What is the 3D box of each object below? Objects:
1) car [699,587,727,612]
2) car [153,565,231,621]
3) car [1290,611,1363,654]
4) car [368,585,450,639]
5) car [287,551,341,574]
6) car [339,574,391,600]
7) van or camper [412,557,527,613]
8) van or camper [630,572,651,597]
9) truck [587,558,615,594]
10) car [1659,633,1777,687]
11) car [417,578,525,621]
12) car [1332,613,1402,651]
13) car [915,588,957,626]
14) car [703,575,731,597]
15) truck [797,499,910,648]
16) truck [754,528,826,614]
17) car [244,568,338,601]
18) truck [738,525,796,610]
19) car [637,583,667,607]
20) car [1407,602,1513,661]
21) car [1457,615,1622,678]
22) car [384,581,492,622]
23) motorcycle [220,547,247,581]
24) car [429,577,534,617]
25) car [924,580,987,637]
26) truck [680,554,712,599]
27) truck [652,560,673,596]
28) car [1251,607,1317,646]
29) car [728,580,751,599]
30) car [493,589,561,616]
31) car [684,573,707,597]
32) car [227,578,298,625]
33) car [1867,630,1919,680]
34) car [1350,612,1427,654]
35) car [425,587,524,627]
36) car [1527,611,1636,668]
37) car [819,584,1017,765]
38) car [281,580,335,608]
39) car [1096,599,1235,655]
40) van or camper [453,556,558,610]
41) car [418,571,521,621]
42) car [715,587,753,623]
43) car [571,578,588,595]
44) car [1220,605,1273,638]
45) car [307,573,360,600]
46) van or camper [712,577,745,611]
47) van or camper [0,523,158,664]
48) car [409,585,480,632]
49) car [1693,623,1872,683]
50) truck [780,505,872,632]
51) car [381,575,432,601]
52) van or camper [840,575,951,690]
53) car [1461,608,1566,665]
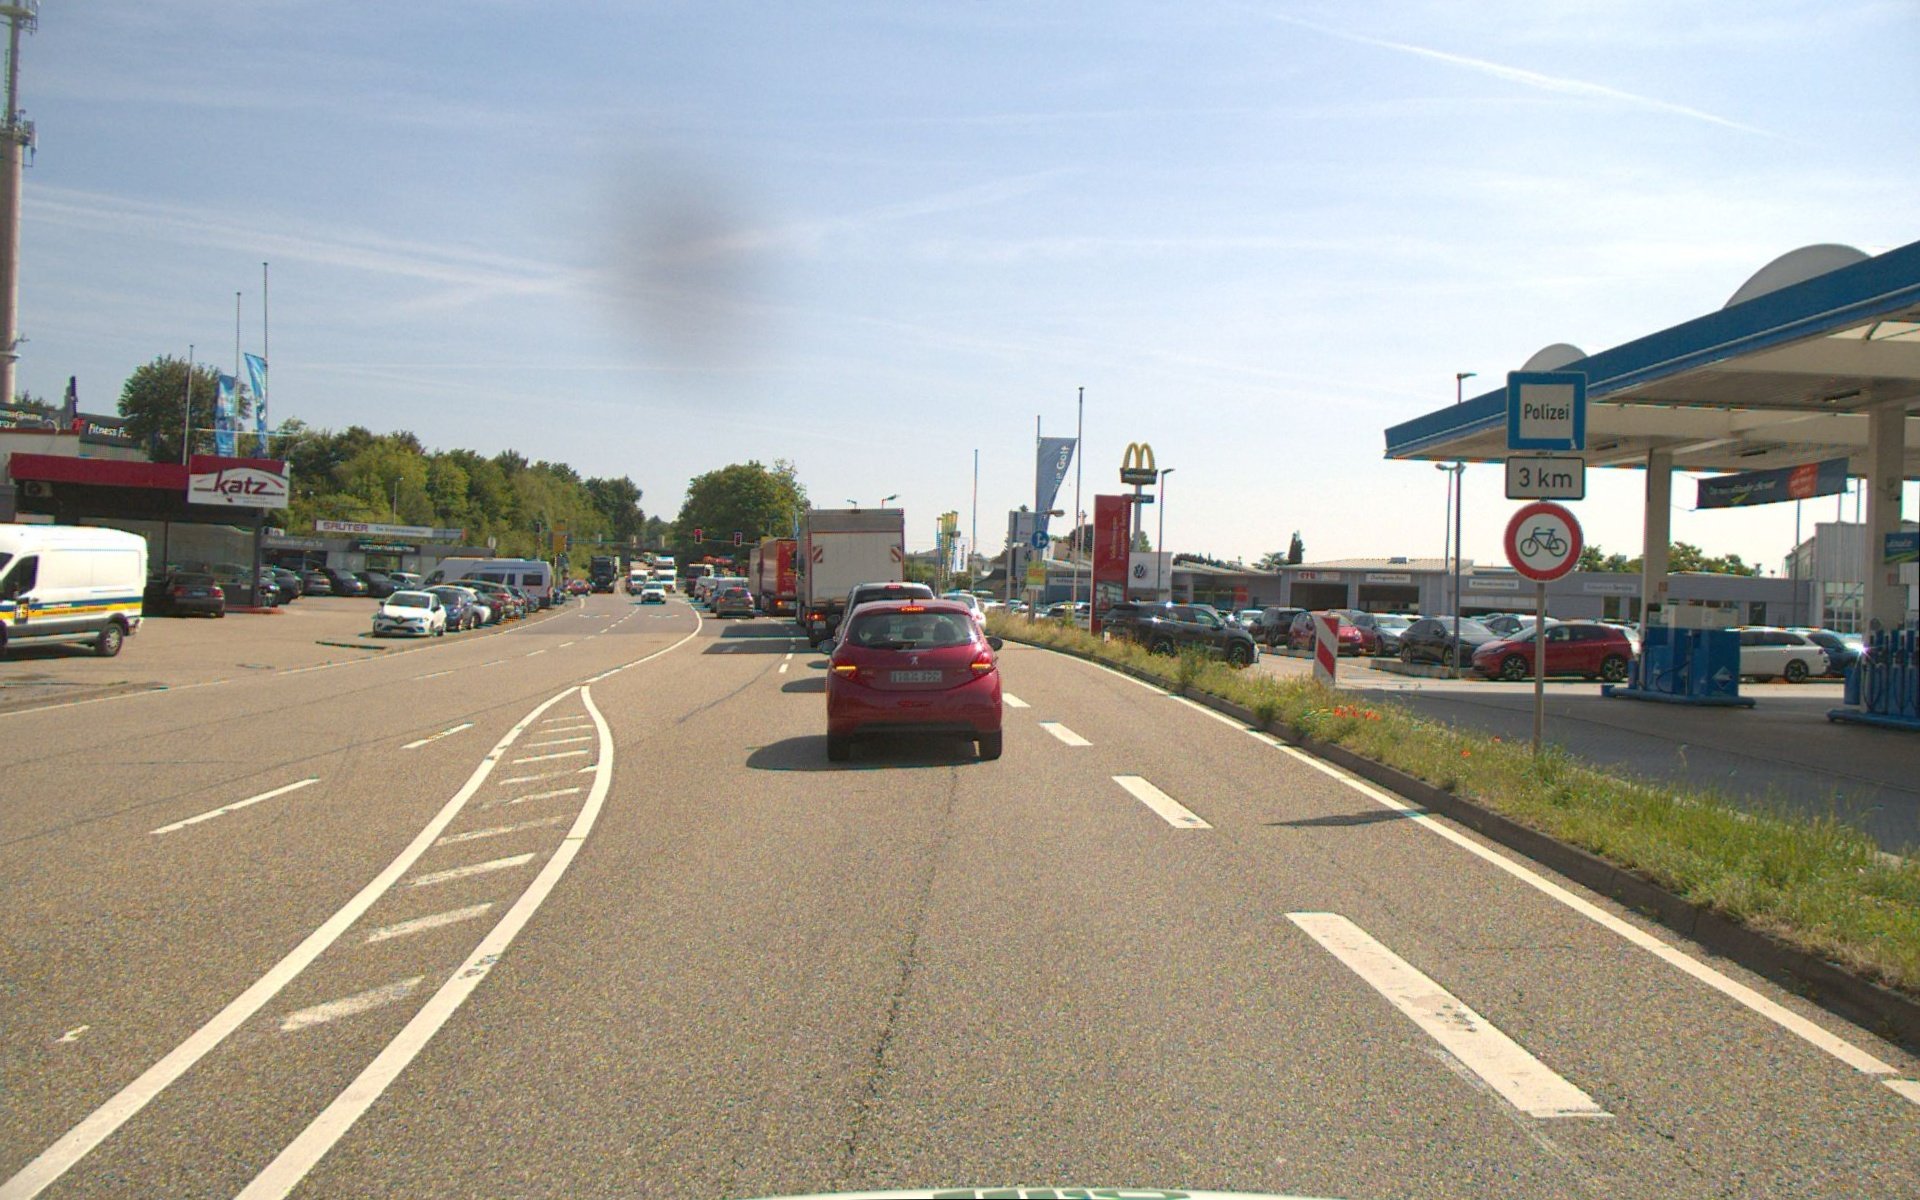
[{"bbox_3d":[-15.933,-0.054,106.639,1.695,1.545,3.305,1,0,-10],"label":"car"},{"bbox_3d":[-25.608,-0.254,55.069,1.835,1.530,4.351,4,1,-31],"label":"car"},{"bbox_3d":[13.341,1.159,60.407,1.528,1.434,3.590,-1,0,-7],"label":"car"},{"bbox_3d":[-17.788,0.364,53.570,1.745,1.646,3.993,1,0,-7],"label":"car"},{"bbox_3d":[-43.098,-2.518,110.318,3.679,1.476,1.727,1,0,40],"label":"car"},{"bbox_3d":[-36.906,-0.808,102.538,1.754,1.616,3.770,0,1,-42],"label":"car"},{"bbox_3d":[-26.953,-0.846,91.070,5.784,2.923,2.285,1,1,-10],"label":"van or camper"},{"bbox_3d":[-34.422,-1.650,178.189,2.134,2.596,4.160,1,0,-10],"label":"van or camper"},{"bbox_3d":[-38.874,-2.585,179.095,2.765,3.852,6.966,-1,1,-13],"label":"truck"},{"bbox_3d":[22.362,1.747,48.917,1.528,1.434,3.590,-1,0,-7],"label":"car"},{"bbox_3d":[-21.048,-0.030,71.366,4.202,1.510,1.831,5,0,-12],"label":"car"},{"bbox_3d":[16.265,1.265,66.313,1.528,1.434,3.684,-1,0,-7],"label":"car"},{"bbox_3d":[-1.179,0.330,80.498,1.953,1.780,3.999,1,0,-1],"label":"car"},{"bbox_3d":[-17.219,-0.977,117.191,1.693,1.545,3.309,1,0,-5],"label":"car"},{"bbox_3d":[-3.351,-0.744,49.046,2.824,3.877,11.127,1,0,-6],"label":"truck"},{"bbox_3d":[-9.785,-1.596,93.461,2.903,4.344,16.546,1,1,-10],"label":"truck"},{"bbox_3d":[-31.751,-0.727,78.481,3.901,1.559,1.749,0,1,-33],"label":"car"},{"bbox_3d":[-13.474,-2.185,114.097,3.006,5.311,16.968,1,1,-10],"label":"truck"},{"bbox_3d":[-22.750,-0.359,122.222,1.898,1.703,3.994,-1,1,-7],"label":"car"},{"bbox_3d":[14.701,0.888,48.823,1.583,1.622,3.855,-1,0,-7],"label":"car"},{"bbox_3d":[15.633,1.243,44.714,3.825,1.599,1.806,1,0,-3],"label":"car"},{"bbox_3d":[-20.057,0.050,63.692,3.728,1.552,1.841,1,1,-12],"label":"car"},{"bbox_3d":[-27.943,-1.381,63.633,0.761,1.283,2.035,0,0,-29],"label":"motorcycle"},{"bbox_3d":[-22.052,-0.139,76.363,4.380,1.510,1.767,5,0,-12],"label":"car"},{"bbox_3d":[-0.188,0.286,54.739,1.953,1.780,3.999,1,0,-1],"label":"car"},{"bbox_3d":[-26.255,-2.316,164.753,2.901,4.282,10.627,-1,1,-8],"label":"truck"},{"bbox_3d":[-36.560,-2.715,203.275,2.506,4.382,7.578,0,1,-10],"label":"truck"},{"bbox_3d":[12.784,1.021,65.370,1.528,1.434,3.590,-1,0,-7],"label":"car"},{"bbox_3d":[-18.038,-0.855,135.490,1.695,1.545,3.304,2,0,-10],"label":"car"},{"bbox_3d":[-25.851,0.124,98.800,3.748,1.566,1.838,0,0,-11],"label":"car"},{"bbox_3d":[-22.220,-1.263,139.096,1.694,1.942,3.307,1,0,-7],"label":"car"},{"bbox_3d":[-28.667,0.087,67.942,1.806,1.703,4.078,7,-4,-34],"label":"car"},{"bbox_3d":[29.267,1.664,49.899,1.528,1.434,3.590,-1,0,-7],"label":"car"},{"bbox_3d":[15.642,1.174,60.534,1.528,1.434,3.590,-1,0,-7],"label":"car"},{"bbox_3d":[-19.315,0.281,65.960,3.642,1.552,1.787,0,1,-12],"label":"car"},{"bbox_3d":[19.148,1.176,51.110,1.583,1.622,3.855,-1,0,-7],"label":"car"},{"bbox_3d":[-0.481,0.656,16.722,1.765,1.599,3.711,-1,0,-3],"label":"car"},{"bbox_3d":[-39.031,-0.370,98.961,1.754,1.616,3.770,0,1,-42],"label":"car"},{"bbox_3d":[5.576,0.701,44.839,3.547,1.434,1.547,-1,0,-31],"label":"car"},{"bbox_3d":[-24.401,-0.899,89.016,5.148,2.779,2.206,1,0,-9],"label":"van or camper"},{"bbox_3d":[-20.223,-0.181,68.325,3.817,1.746,1.802,5,0,-12],"label":"car"},{"bbox_3d":[-10.897,0.220,79.870,1.756,1.667,3.499,0,0,-7],"label":"car"},{"bbox_3d":[-47.810,-1.696,207.832,1.960,2.049,3.985,1,0,-14],"label":"car"},{"bbox_3d":[13.479,0.994,77.925,1.528,1.434,3.590,-1,0,-7],"label":"car"},{"bbox_3d":[-38.278,-0.845,101.041,1.754,1.616,3.770,0,1,-42],"label":"car"},{"bbox_3d":[-13.915,-0.395,99.211,1.819,1.939,3.775,1,1,-10],"label":"van or camper"},{"bbox_3d":[-18.391,-0.193,32.121,2.109,2.542,5.954,5,1,5],"label":"van or camper"},{"bbox_3d":[-18.874,0.285,60.672,1.746,1.520,3.775,5,0,-8],"label":"car"},{"bbox_3d":[22.541,1.436,45.387,4.245,1.520,1.561,1,0,-7],"label":"car"},{"bbox_3d":[-5.502,-1.170,65.251,2.835,4.340,16.683,1,0,-7],"label":"truck"},{"bbox_3d":[-35.074,-0.754,104.759,1.754,1.616,3.770,0,1,-42],"label":"car"},{"bbox_3d":[-1.230,0.513,29.306,1.712,1.818,5.128,1,0,-5],"label":"van or camper"},{"bbox_3d":[16.773,1.077,50.299,1.528,1.622,3.855,-1,0,-7],"label":"car"}]
